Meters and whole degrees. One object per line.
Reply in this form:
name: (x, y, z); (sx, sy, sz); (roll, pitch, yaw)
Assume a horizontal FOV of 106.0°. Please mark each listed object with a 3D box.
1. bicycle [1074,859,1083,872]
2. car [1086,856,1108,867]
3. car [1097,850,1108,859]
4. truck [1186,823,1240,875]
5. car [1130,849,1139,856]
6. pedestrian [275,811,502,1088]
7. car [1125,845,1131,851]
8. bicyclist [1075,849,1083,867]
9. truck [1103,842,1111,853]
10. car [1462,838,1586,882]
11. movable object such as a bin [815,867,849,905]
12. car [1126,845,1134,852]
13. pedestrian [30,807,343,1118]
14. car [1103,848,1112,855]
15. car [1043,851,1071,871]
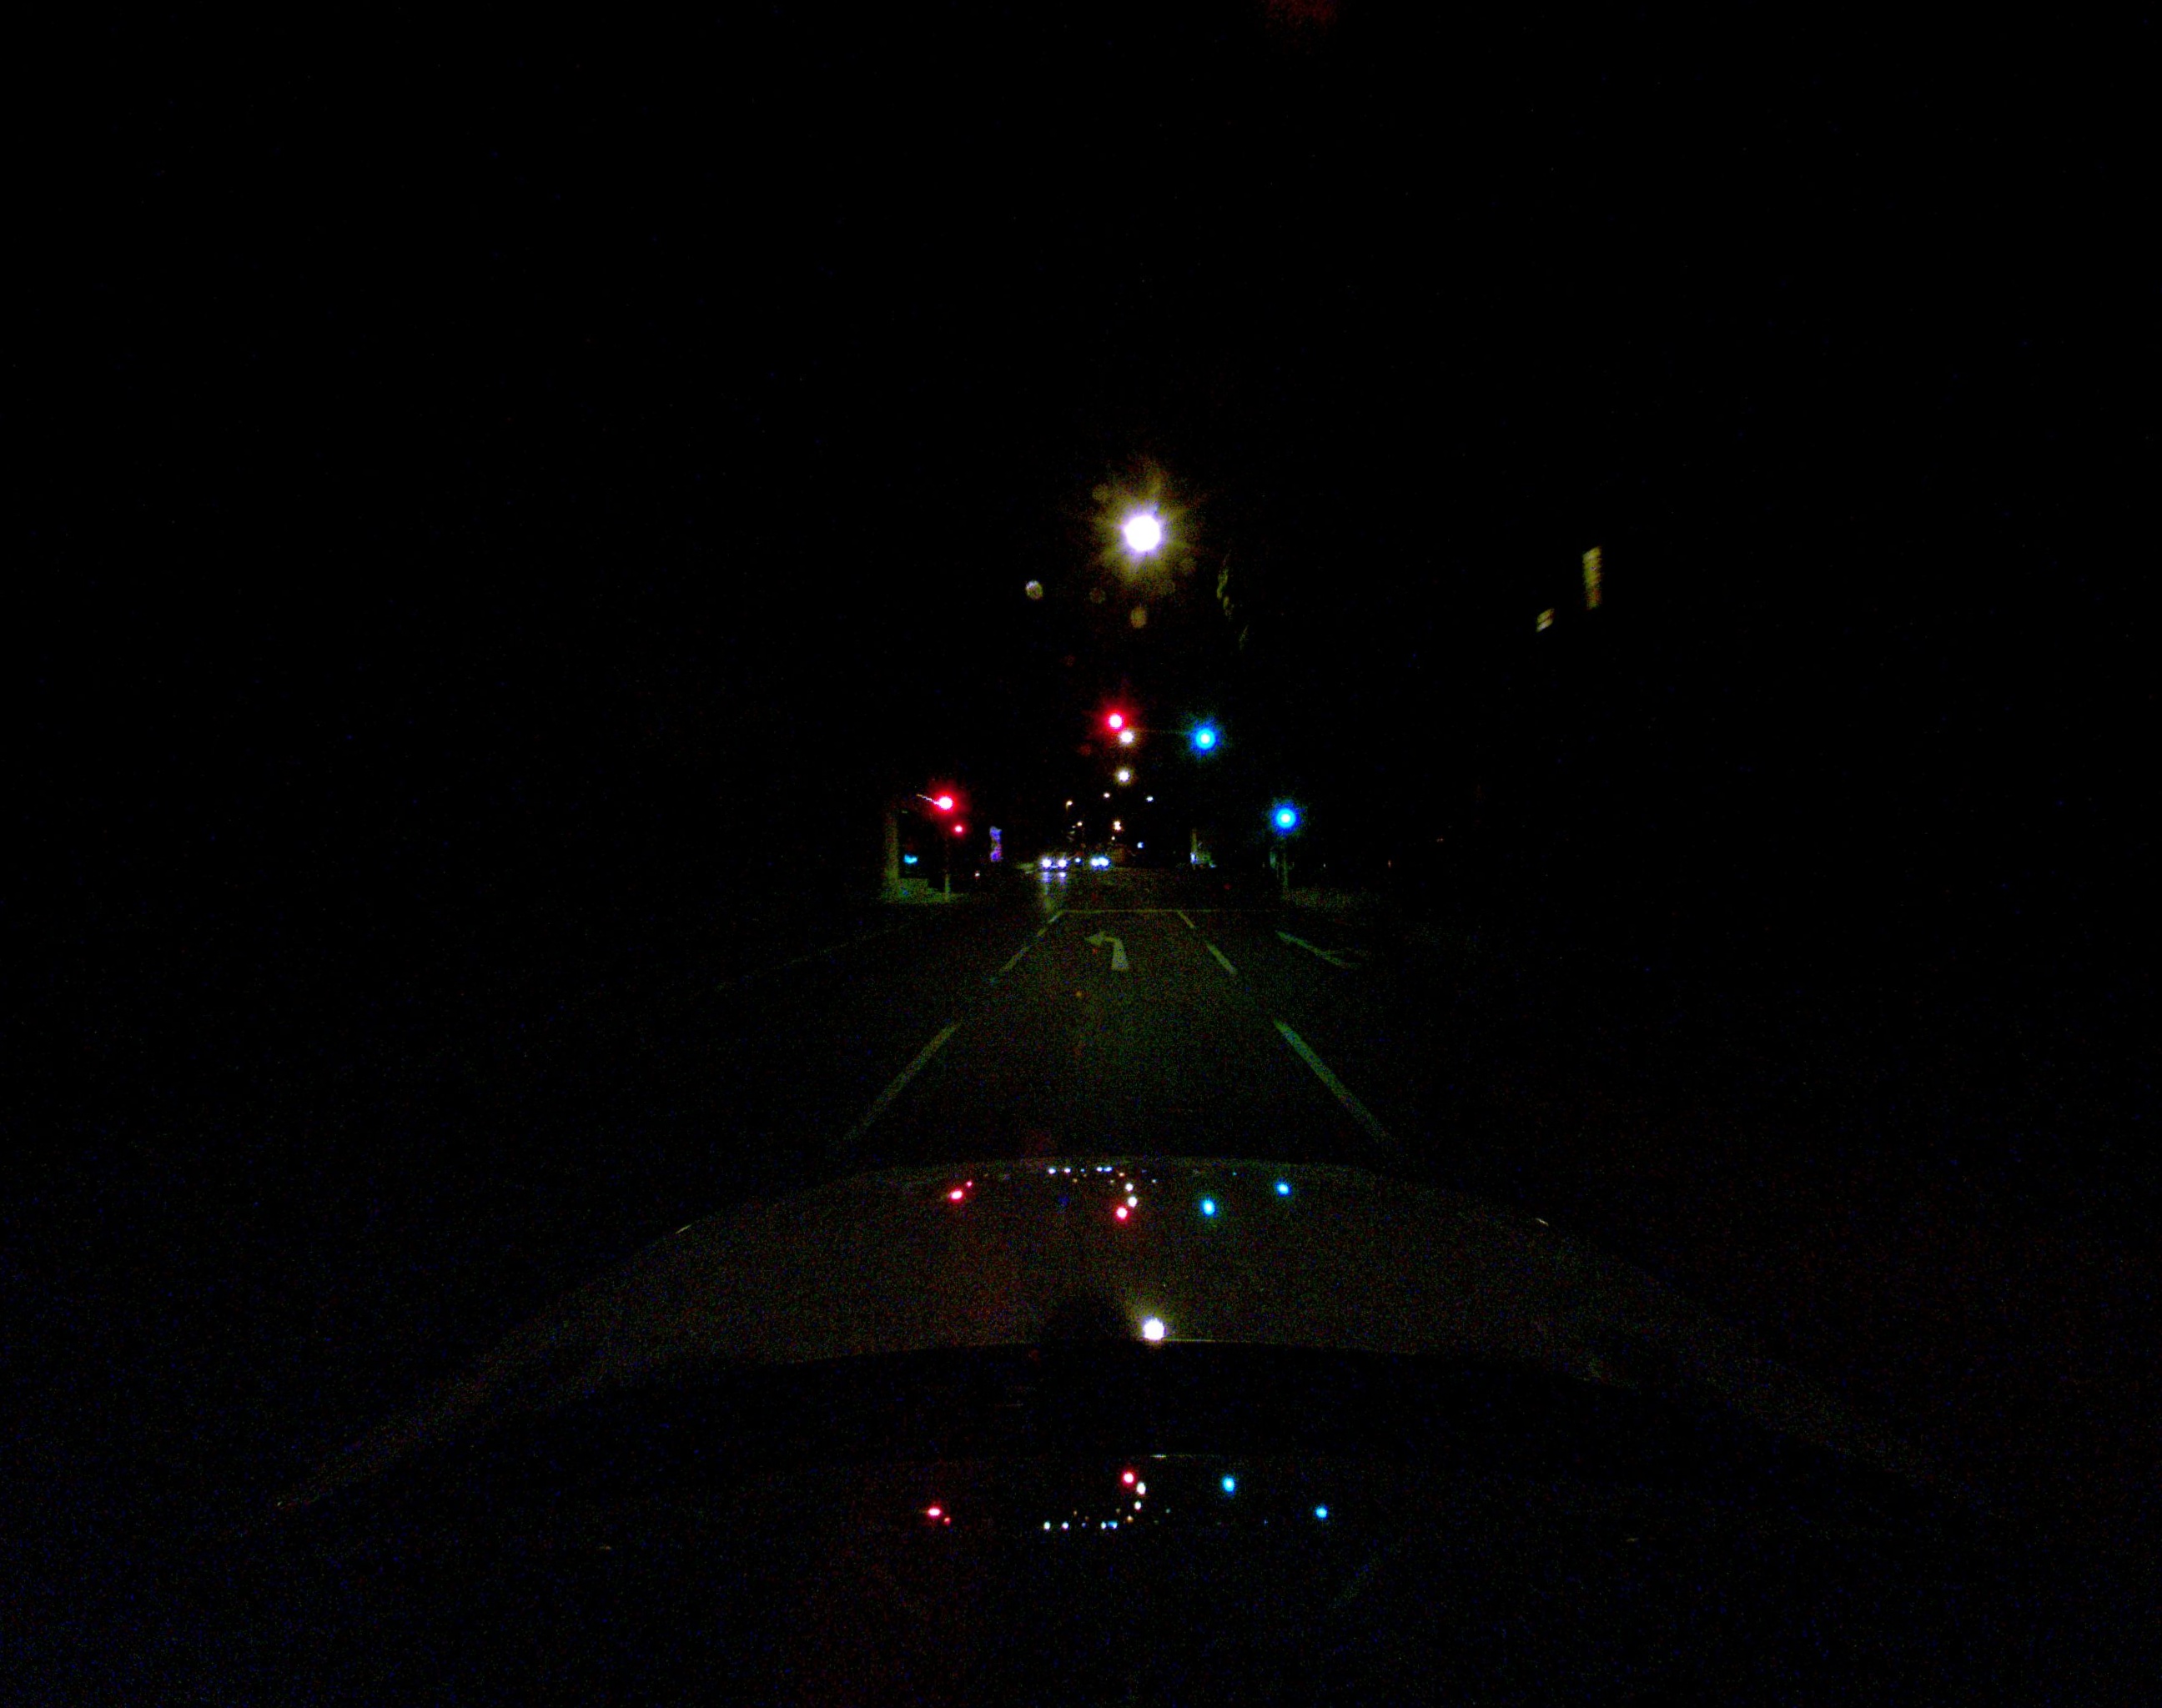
bicycle: (-0.194, 1.030, 75.093); (0.693, 1.149, 1.952); (-1, 0, 3)
car: (2.072, 0.960, 107.248); (1.918, 1.388, 4.562); (0, 0, -13)
car: (4.019, 0.108, 152.135); (1.808, 1.684, 4.003); (-1, 0, 3)
truck: (8.307, -0.324, 51.778); (2.738, 3.110, 6.264); (0, 0, 3)
car: (10.478, -0.289, 160.514); (1.627, 1.451, 3.487); (0, 0, 3)
pedestrian: (-4.748, 0.605, 5.665); (0.673, 1.745, 1.029); (-1, -1, 1)
car: (11.980, -1.506, 208.778); (1.627, 1.451, 3.487); (0, 0, 3)
bicyclist: (-0.212, 0.356, 75.083); (0.687, 1.637, 0.897); (-1, -1, 2)
truck: (7.221, -1.840, 227.106); (2.079, 2.848, 5.832); (0, 0, 1)
car: (18.324, 0.252, 33.867); (4.106, 1.280, 1.771); (-7, -2, 9)
movable object such as a bin: (-7.084, 0.908, 23.158); (0.633, 1.049, 0.658); (-1, -1, 20)
car: (10.571, -1.159, 176.568); (1.627, 1.451, 3.487); (0, 0, 3)
pedestrian: (-5.546, 0.612, 5.148); (0.739, 1.745, 1.103); (-1, -1, 1)
car: (5.758, -0.566, 178.058); (1.809, 1.491, 4.001); (0, 0, 1)
car: (-1.845, 0.553, 64.232); (1.850, 1.534, 4.030); (0, 0, 2)
